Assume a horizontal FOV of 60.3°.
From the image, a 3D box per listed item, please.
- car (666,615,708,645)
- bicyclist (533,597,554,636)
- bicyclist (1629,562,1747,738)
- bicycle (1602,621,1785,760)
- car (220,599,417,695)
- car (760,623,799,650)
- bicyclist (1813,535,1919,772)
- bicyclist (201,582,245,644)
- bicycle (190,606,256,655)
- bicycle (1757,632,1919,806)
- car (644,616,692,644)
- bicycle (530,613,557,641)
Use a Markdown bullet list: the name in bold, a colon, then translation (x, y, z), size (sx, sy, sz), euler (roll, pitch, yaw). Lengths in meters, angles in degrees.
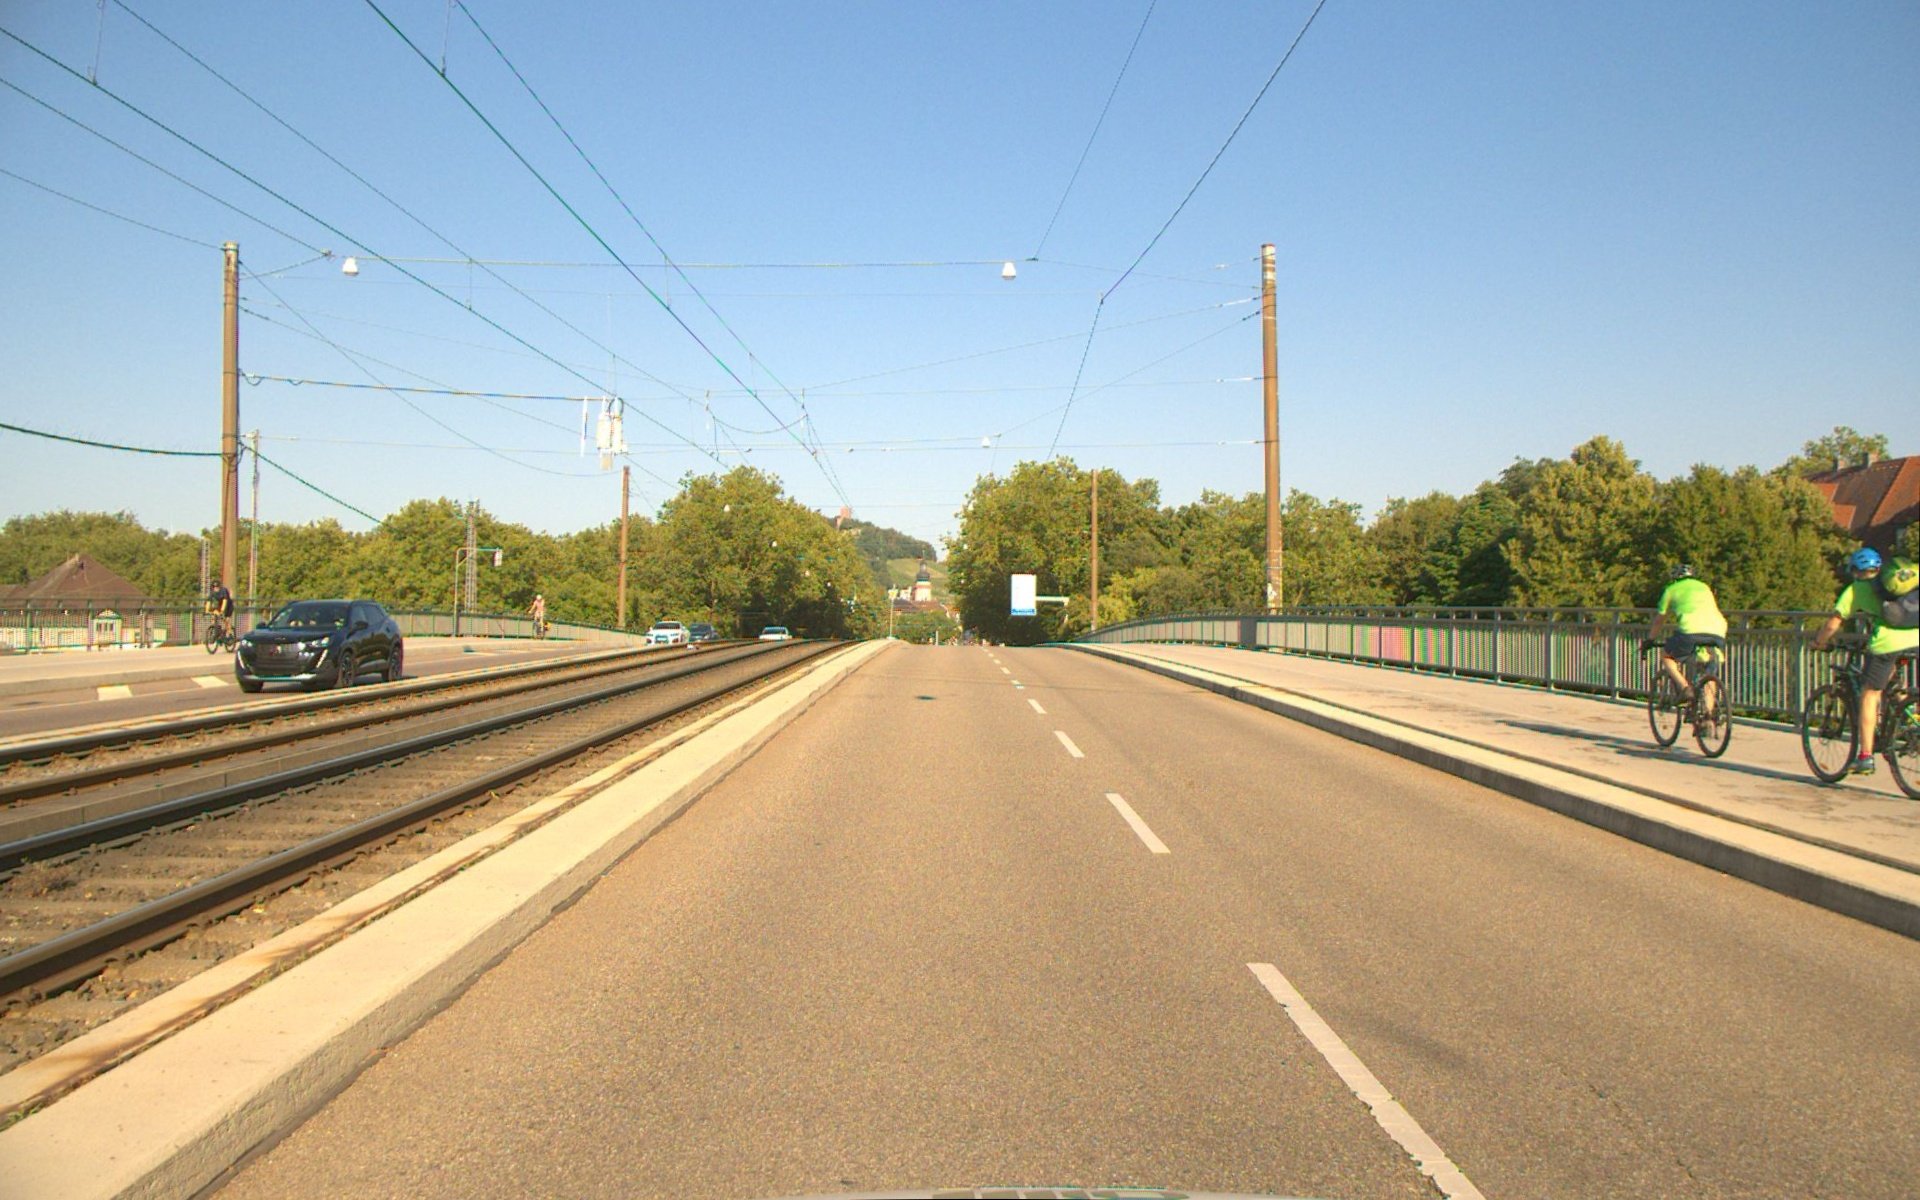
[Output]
- **car**: translation (-16.132, 1.778, 97.827), size (1.743, 1.679, 4.446), euler (1, -1, -1)
- **bicyclist**: translation (-17.878, 0.695, 70.999), size (0.612, 1.662, 0.935), euler (1, -1, -1)
- **bicyclist**: translation (6.577, 0.445, 14.983), size (0.612, 1.534, 1.006), euler (1, -1, -1)
- **bicycle**: translation (6.567, 0.770, 14.946), size (0.612, 1.142, 2.259), euler (1, -1, -1)
- **car**: translation (-11.066, 0.788, 28.852), size (1.811, 1.528, 4.218), euler (1, -1, -1)
- **car**: translation (-11.748, 2.352, 107.898), size (1.960, 1.666, 5.089), euler (1, -1, -1)
- **bicyclist**: translation (6.635, 0.375, 11.806), size (0.612, 1.620, 0.930), euler (1, -1, -1)
- **bicyclist**: translation (-17.687, 0.314, 39.710), size (0.612, 1.458, 0.968), euler (1, -1, -2)
- **bicycle**: translation (-17.697, 0.725, 39.769), size (0.612, 1.142, 2.259), euler (1, -1, -2)
- **bicycle**: translation (6.589, 0.812, 11.987), size (0.612, 1.142, 2.041), euler (1, -1, -1)
- **car**: translation (-15.206, 1.557, 86.306), size (1.649, 1.380, 4.919), euler (1, -1, -1)
- **bicycle**: translation (-17.888, 1.166, 71.124), size (0.612, 1.142, 2.259), euler (1, -1, -1)
